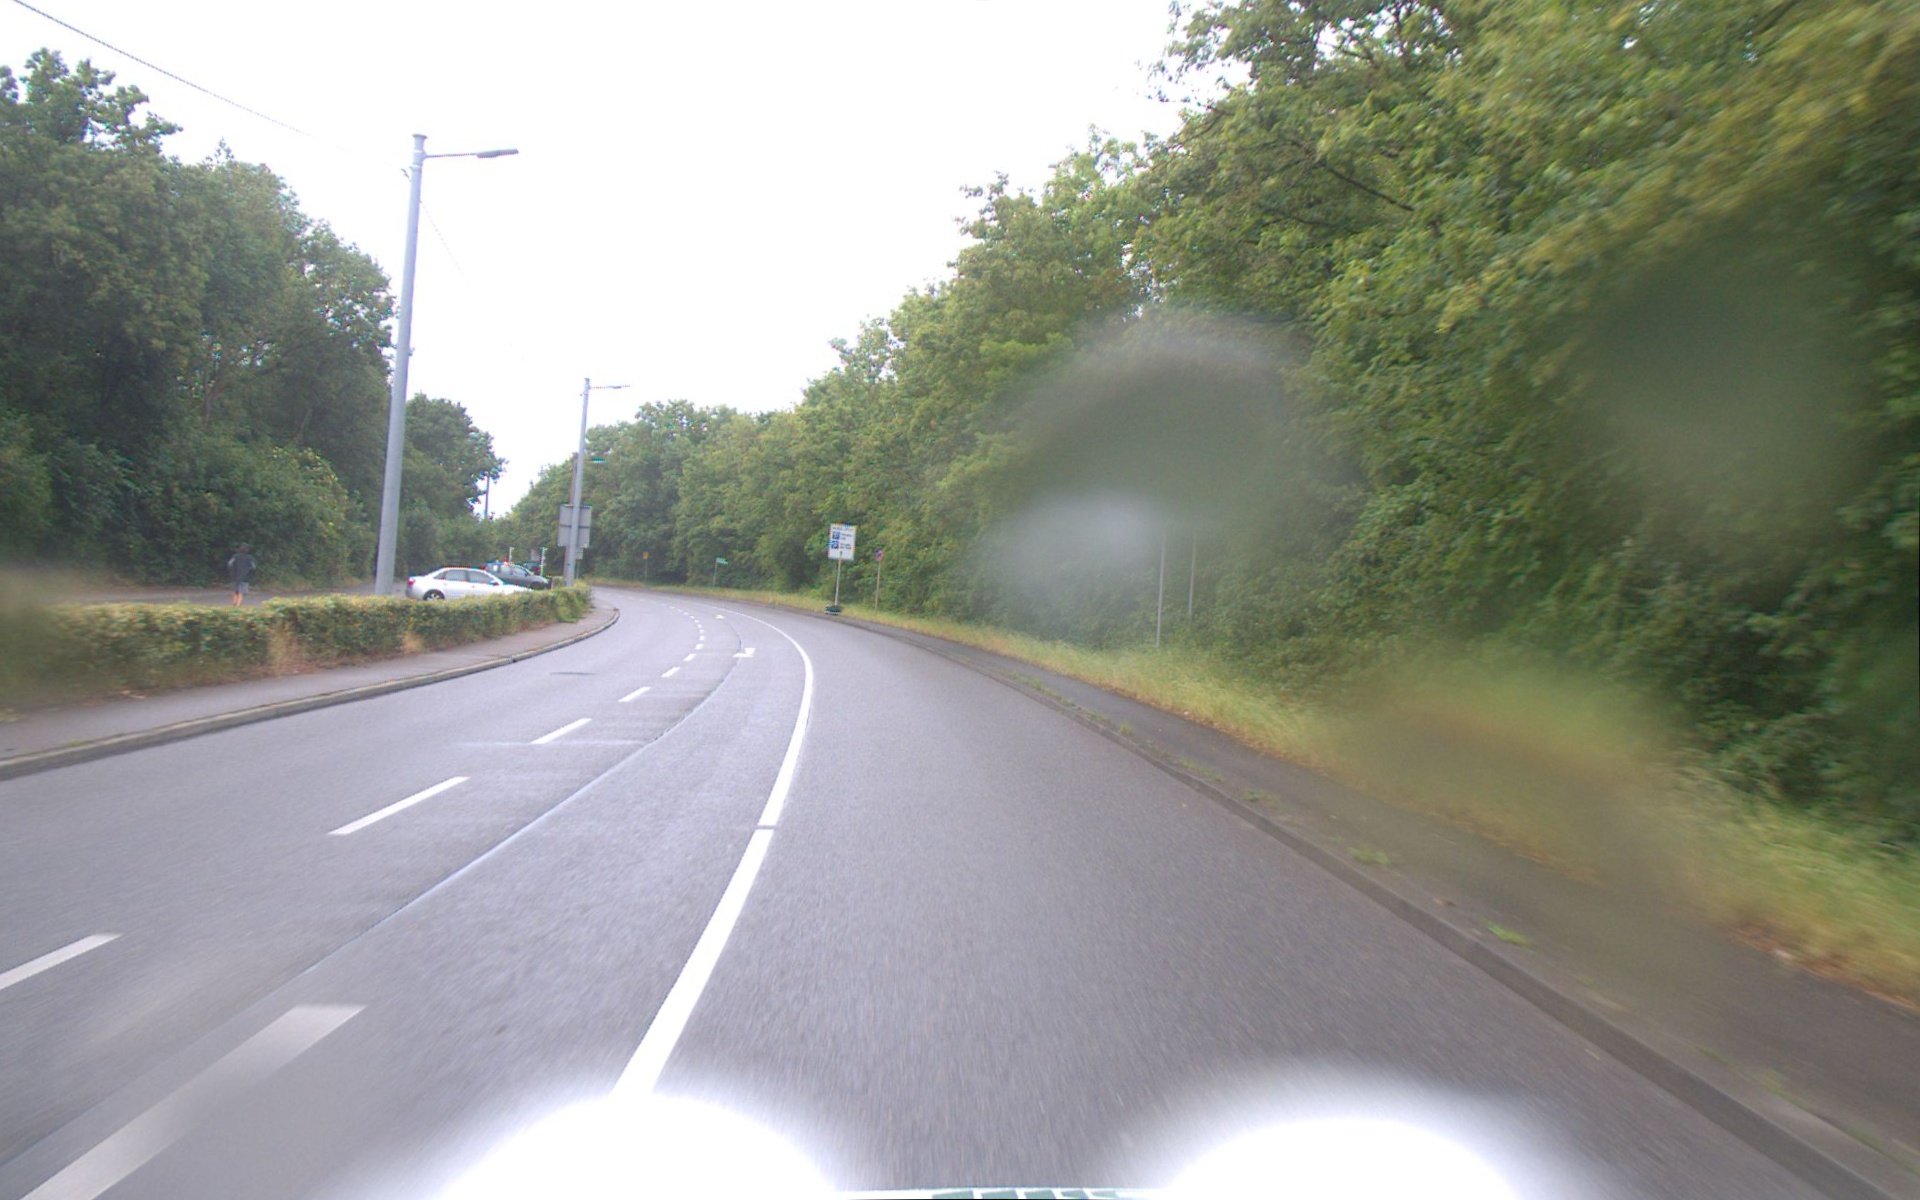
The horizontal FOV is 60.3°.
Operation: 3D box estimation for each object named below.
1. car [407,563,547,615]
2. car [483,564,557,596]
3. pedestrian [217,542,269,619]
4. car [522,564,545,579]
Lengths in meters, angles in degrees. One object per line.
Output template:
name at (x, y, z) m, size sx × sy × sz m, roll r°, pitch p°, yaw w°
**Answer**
car at (-16.536, -0.383, 56.789) m, size 4.501 × 1.532 × 1.992 m, roll 3°, pitch 0°, yaw -16°
car at (-27.059, -1.242, 101.781) m, size 4.217 × 1.738 × 1.994 m, roll 3°, pitch 0°, yaw -13°
pedestrian at (-17.606, -0.481, 40.625) m, size 0.801 × 1.829 × 1.134 m, roll 2°, pitch 0°, yaw -5°
car at (-46.282, -3.150, 179.457) m, size 1.907 × 1.524 × 4.291 m, roll 2°, pitch 1°, yaw -21°
